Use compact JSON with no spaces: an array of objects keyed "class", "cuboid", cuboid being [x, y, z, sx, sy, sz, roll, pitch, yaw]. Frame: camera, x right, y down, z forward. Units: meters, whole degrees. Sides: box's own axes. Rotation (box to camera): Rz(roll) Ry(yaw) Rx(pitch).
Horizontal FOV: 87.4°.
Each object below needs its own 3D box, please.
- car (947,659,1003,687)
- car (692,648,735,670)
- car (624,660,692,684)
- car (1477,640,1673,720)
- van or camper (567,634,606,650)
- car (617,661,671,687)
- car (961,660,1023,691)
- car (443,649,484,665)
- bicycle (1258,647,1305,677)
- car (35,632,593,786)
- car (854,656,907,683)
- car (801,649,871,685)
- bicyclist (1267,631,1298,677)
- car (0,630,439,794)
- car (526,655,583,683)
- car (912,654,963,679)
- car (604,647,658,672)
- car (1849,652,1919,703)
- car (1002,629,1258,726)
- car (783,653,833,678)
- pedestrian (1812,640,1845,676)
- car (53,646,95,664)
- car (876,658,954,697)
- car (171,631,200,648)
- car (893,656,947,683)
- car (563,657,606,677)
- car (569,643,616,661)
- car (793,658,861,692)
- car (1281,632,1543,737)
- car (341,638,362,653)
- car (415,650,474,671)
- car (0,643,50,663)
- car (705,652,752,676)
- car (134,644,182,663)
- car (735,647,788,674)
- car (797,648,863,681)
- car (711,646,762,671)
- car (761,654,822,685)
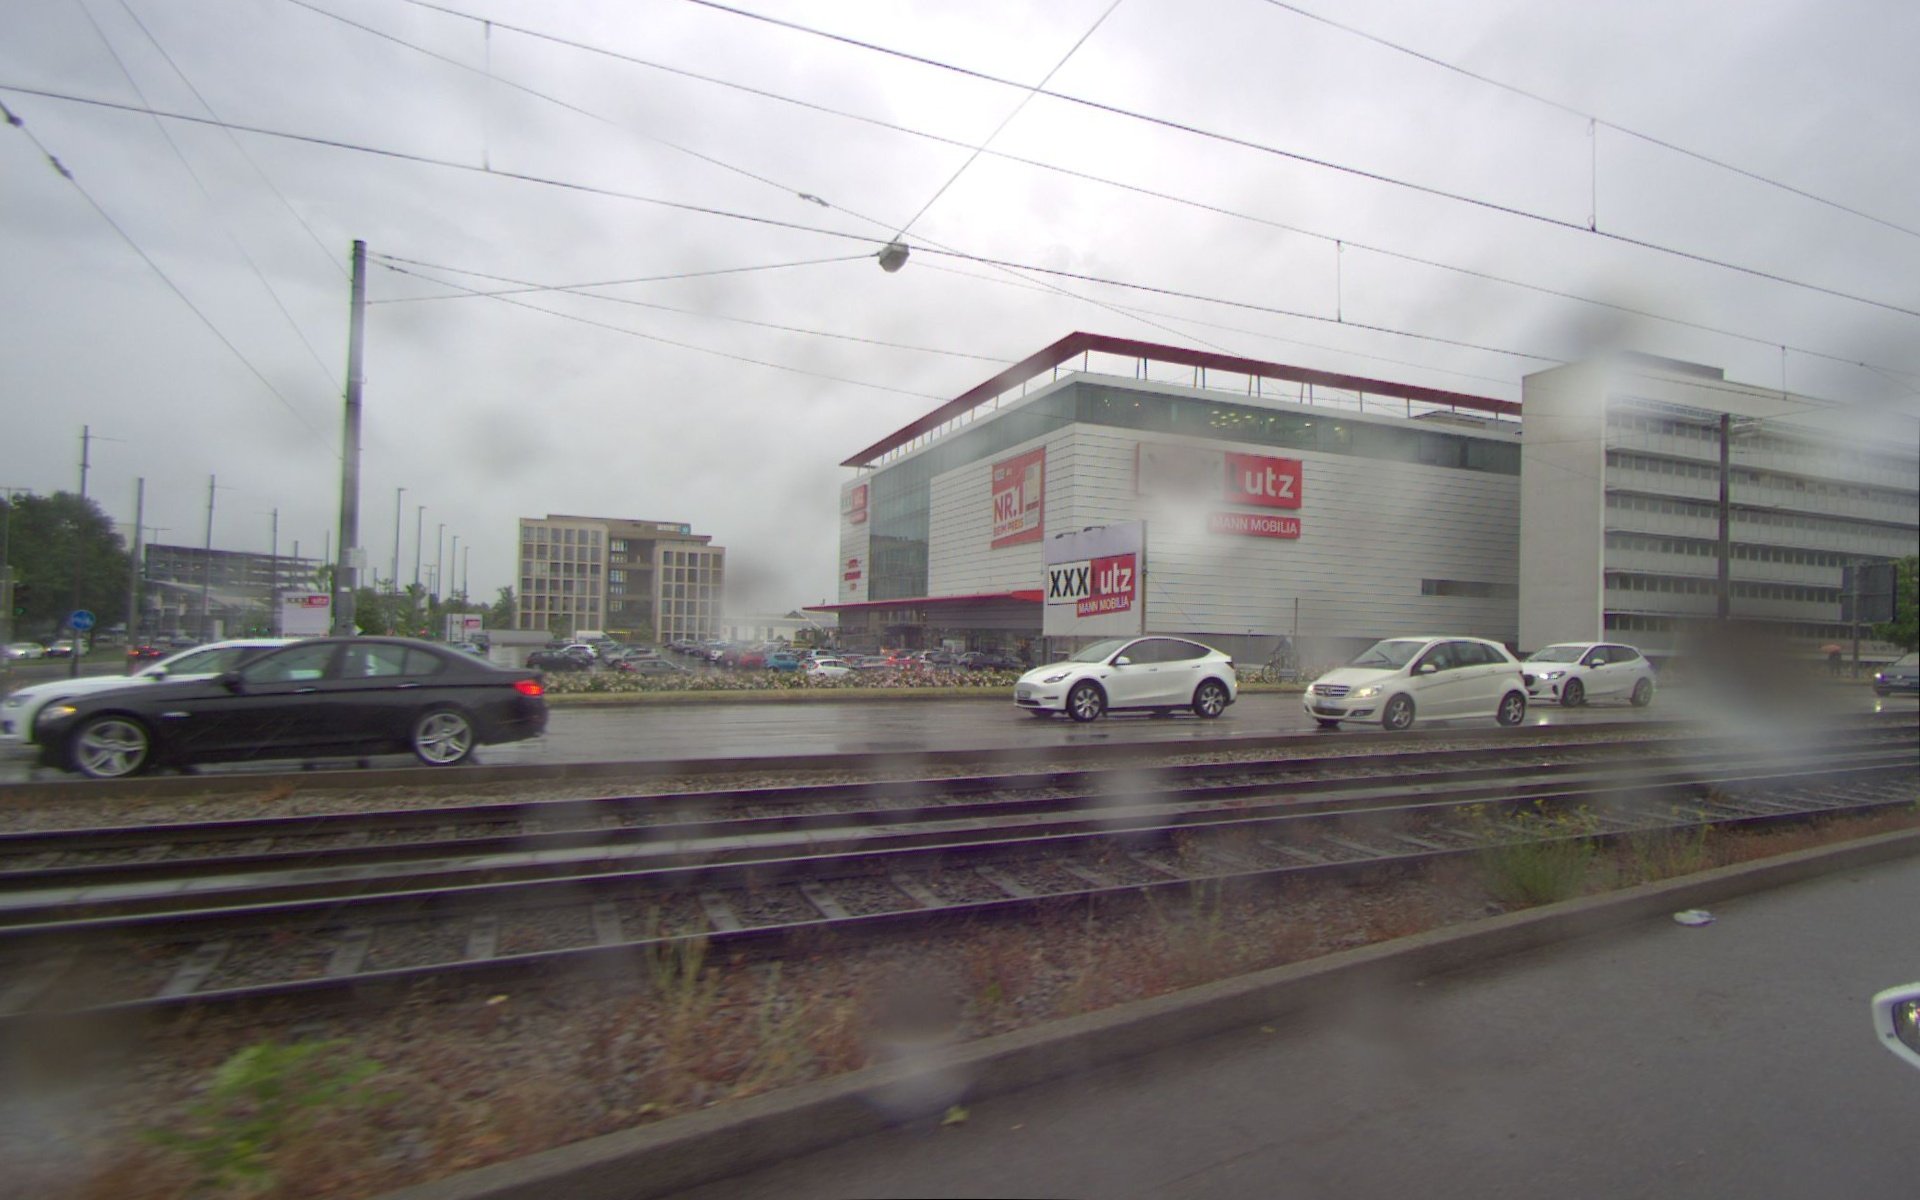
[{"class":"car","cuboid":[1.179,5.748,79.714,3.948,2.040,1.986,2,0,-27]},{"class":"car","cuboid":[-25.325,6.025,103.160,3.949,2.040,1.986,2,1,-27]},{"class":"car","cuboid":[-18.290,4.354,60.888,3.677,1.281,1.541,2,0,-28]},{"class":"car","cuboid":[15.650,1.992,25.543,4.627,1.858,1.989,2,-2,-24]},{"class":"van or camper","cuboid":[-52.720,5.987,141.729,4.933,2.141,1.772,2,0,-30]},{"class":"car","cuboid":[-20.594,4.808,65.491,3.129,1.544,1.561,2,0,-28]},{"class":"car","cuboid":[2.265,5.325,71.338,3.950,2.040,1.986,2,0,-28]},{"class":"car","cuboid":[-51.198,5.878,103.623,3.514,1.426,1.778,2,0,-21]},{"class":"bicycle","cuboid":[11.610,2.250,36.288,1.535,1.029,0.666,2,1,-25]},{"class":"car","cuboid":[-6.916,1.151,11.523,5.011,1.441,1.919,0,-5,-23]},{"class":"car","cuboid":[-6.680,5.833,84.568,3.950,2.040,1.986,2,0,-28]},{"class":"car","cuboid":[-7.805,4.191,63.334,3.949,2.040,1.986,2,1,-27]},{"class":"bicyclist","cuboid":[11.655,1.950,36.300,0.781,1.611,0.669,1,1,-24]},{"class":"car","cuboid":[-10.073,1.474,14.089,4.725,1.927,1.988,2,0,-24]},{"class":"car","cuboid":[-31.016,5.269,76.833,3.786,1.930,1.810,2,0,-29]},{"class":"car","cuboid":[-1.949,5.850,88.227,3.950,2.040,1.986,2,0,-28]},{"class":"car","cuboid":[-26.685,4.810,81.431,3.858,1.930,1.810,2,0,-29]},{"class":"car","cuboid":[30.978,2.467,32.227,4.490,1.536,1.959,2,-3,-23]},{"class":"car","cuboid":[3.391,1.446,19.947,4.777,1.628,1.901,1,2,-25]},{"class":"car","cuboid":[-13.643,5.856,89.960,3.950,2.040,1.986,2,0,-28]},{"class":"pedestrian","cuboid":[44.894,3.008,51.929,1.035,1.786,0.821,2,1,-22]},{"class":"car","cuboid":[-81.728,5.067,92.705,1.579,1.426,3.806,2,0,-21]},{"class":"car","cuboid":[-2.592,4.408,57.534,3.949,2.040,1.986,2,1,-27]},{"class":"car","cuboid":[-101.112,5.137,131.176,1.971,2.040,3.978,2,0,-22]},{"class":"car","cuboid":[-3.328,5.773,83.803,3.950,2.040,1.986,2,0,-28]},{"class":"car","cuboid":[-31.616,5.632,84.570,3.129,1.544,1.561,2,0,-28]},{"class":"car","cuboid":[-34.567,4.876,94.477,3.952,1.582,1.754,2,0,-24]},{"class":"car","cuboid":[-8.640,4.853,65.409,3.949,2.040,1.986,2,1,-27]},{"class":"car","cuboid":[8.056,1.415,17.922,4.266,1.595,1.869,0,1,-23]},{"class":"car","cuboid":[-88.327,6.604,145.776,1.971,2.040,3.978,2,0,-22]},{"class":"car","cuboid":[-40.436,4.744,78.809,3.994,1.544,1.704,2,0,-29]},{"class":"car","cuboid":[-78.428,4.397,84.212,1.684,1.425,4.146,2,0,-21]},{"class":"car","cuboid":[-21.780,5.986,94.596,3.949,2.040,1.986,2,1,-27]},{"class":"car","cuboid":[-69.007,4.593,86.461,2.006,1.425,4.201,2,0,-21]},{"class":"car","cuboid":[-16.405,4.999,83.006,3.949,2.040,1.986,2,1,-27]},{"class":"car","cuboid":[-8.778,4.362,67.870,3.948,2.040,1.986,2,0,-27]},{"class":"car","cuboid":[-19.378,5.082,87.146,3.949,2.040,1.986,2,1,-27]},{"class":"car","cuboid":[-12.131,4.973,72.368,3.949,2.040,1.986,2,1,-27]}]
